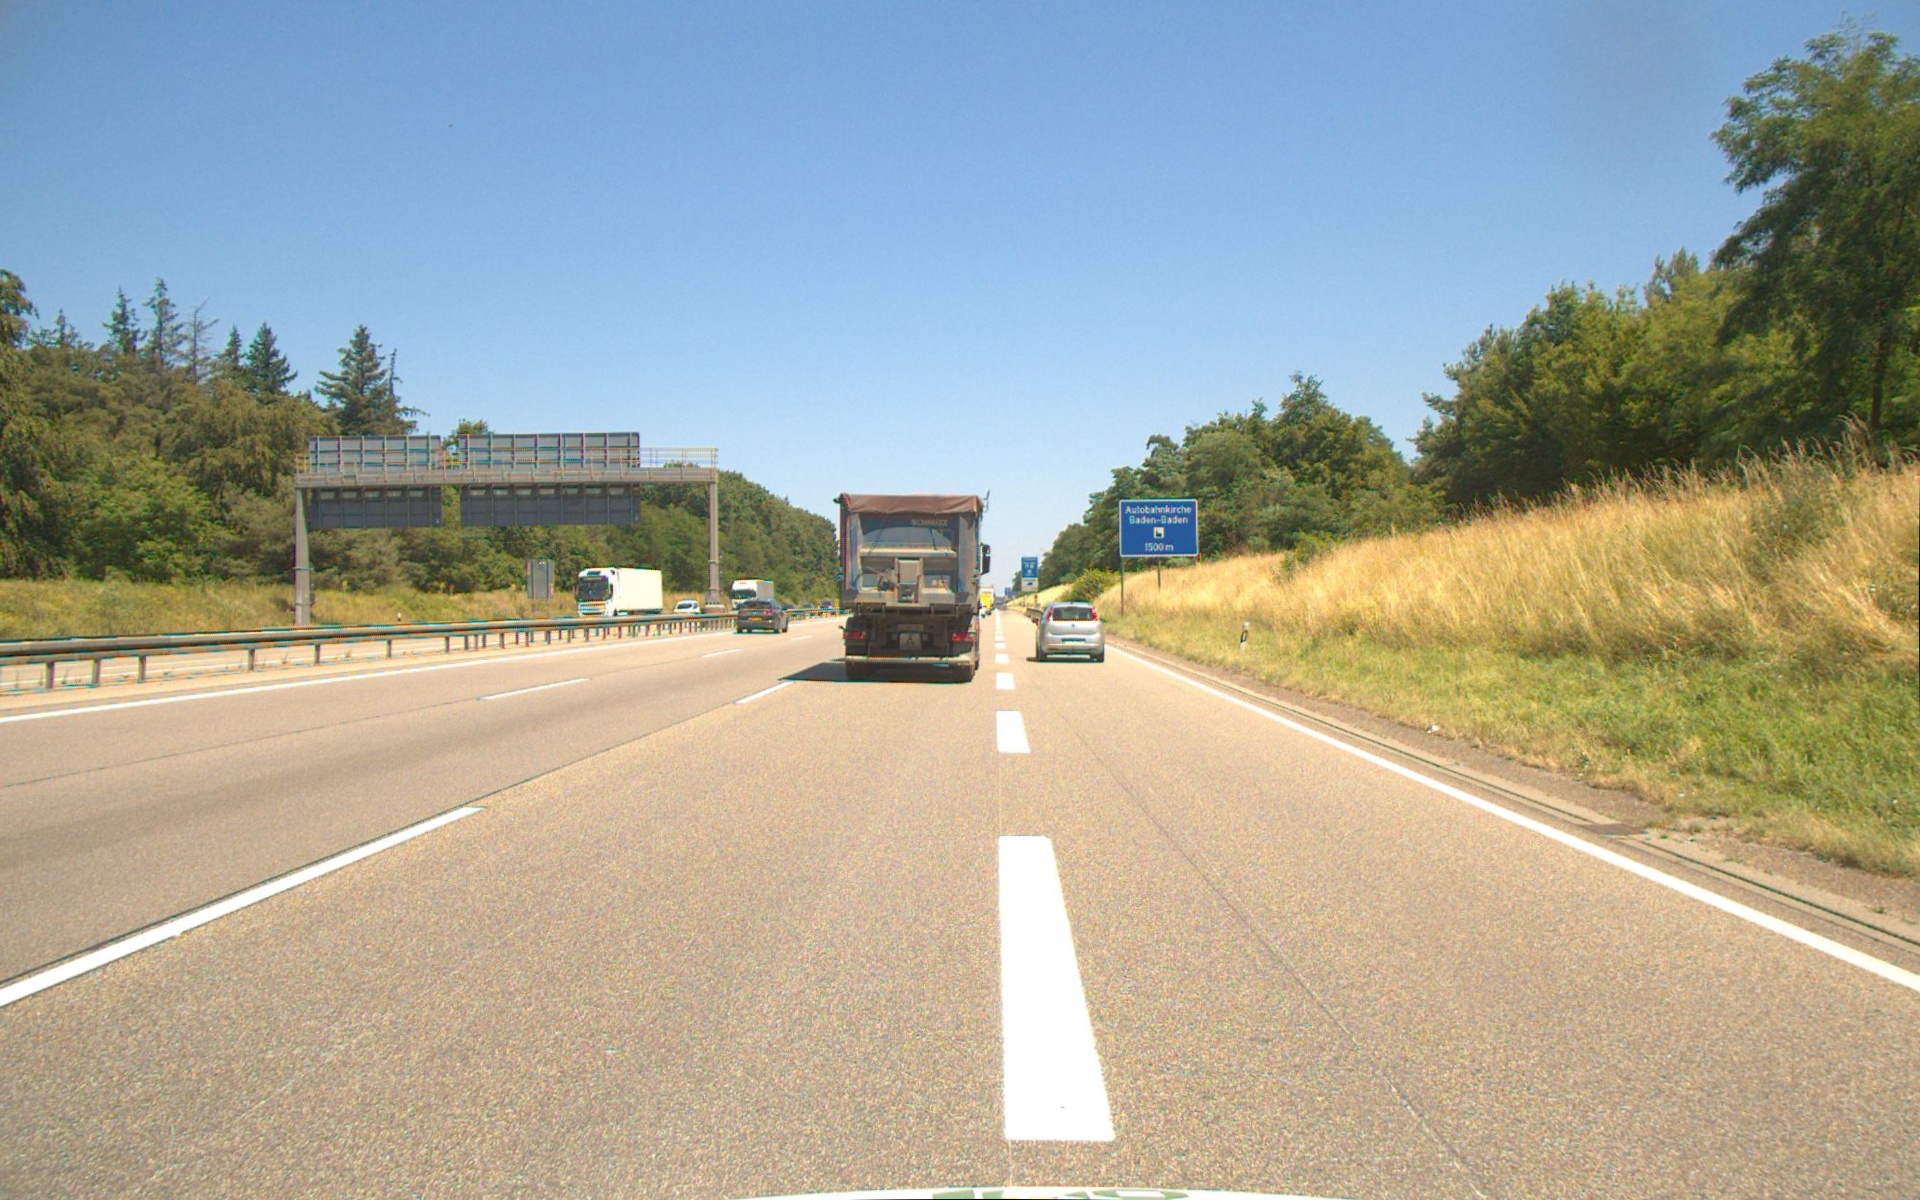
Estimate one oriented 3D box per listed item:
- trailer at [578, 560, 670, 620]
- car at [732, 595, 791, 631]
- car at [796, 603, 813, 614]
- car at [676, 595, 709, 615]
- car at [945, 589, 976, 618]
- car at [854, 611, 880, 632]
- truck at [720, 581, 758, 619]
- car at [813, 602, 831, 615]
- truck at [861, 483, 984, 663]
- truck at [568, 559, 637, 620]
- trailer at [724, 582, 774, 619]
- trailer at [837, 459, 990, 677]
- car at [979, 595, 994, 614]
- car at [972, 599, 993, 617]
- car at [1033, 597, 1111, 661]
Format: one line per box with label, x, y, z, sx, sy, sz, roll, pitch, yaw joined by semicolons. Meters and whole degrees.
trailer;-24.474;-0.701;121.446;3.147;4.113;14.365;1;0;3
car;-8.388;0.522;70.330;1.794;1.456;5.000;1;0;1
car;-22.244;1.210;236.493;1.887;1.489;4.943;-1;0;1
car;-23.807;0.450;147.351;1.952;1.780;4.991;1;0;1
car;0.037;0.211;101.524;1.794;1.701;4.000;2;0;1
car;-7.345;1.688;130.526;1.668;1.500;4.598;0;1;2
truck;-24.065;-0.006;180.531;3.102;3.999;5.402;1;0;3
car;-18.024;1.100;215.601;1.808;1.638;4.922;1;0;1
truck;-0.791;-0.594;38.344;2.629;3.824;5.944;0;0;0
truck;-24.777;-0.713;114.902;3.147;4.088;6.217;1;0;3
trailer;-23.751;0.051;187.000;3.102;3.999;13.968;1;0;3
trailer;-0.799;-0.598;33.725;2.681;3.824;9.109;0;0;0
car;2.871;0.478;178.725;1.578;2.049;4.000;1;0;0
car;2.062;0.720;150.122;1.783;1.518;3.737;1;-1;2
car;2.845;0.720;42.560;1.684;1.517;3.736;1;0;-1
